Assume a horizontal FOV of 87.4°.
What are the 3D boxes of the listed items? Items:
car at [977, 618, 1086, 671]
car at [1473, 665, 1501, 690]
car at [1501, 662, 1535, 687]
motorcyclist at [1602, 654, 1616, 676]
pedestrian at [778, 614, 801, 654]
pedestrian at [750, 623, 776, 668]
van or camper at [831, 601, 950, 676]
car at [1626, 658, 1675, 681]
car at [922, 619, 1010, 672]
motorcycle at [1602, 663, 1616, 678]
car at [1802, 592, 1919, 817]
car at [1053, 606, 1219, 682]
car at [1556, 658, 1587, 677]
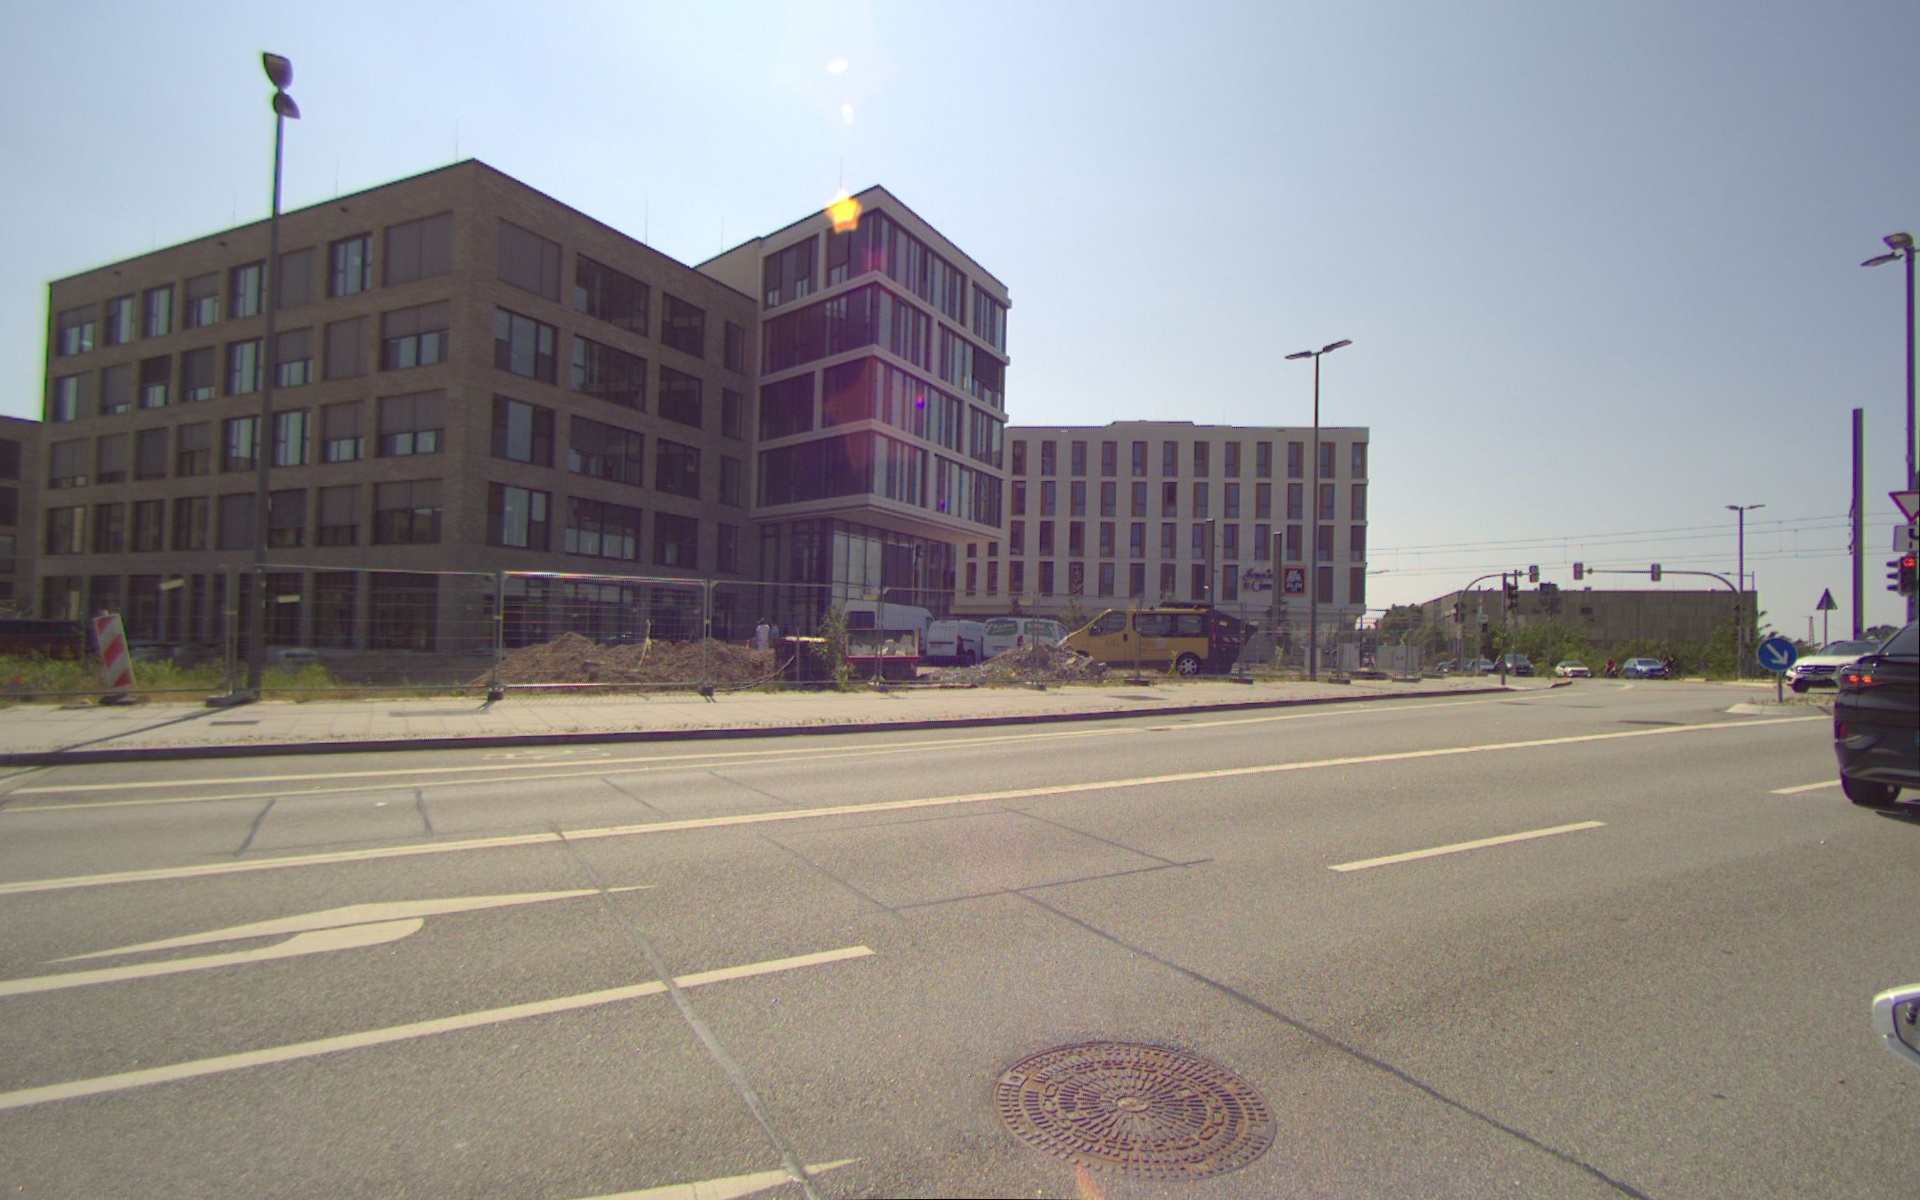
[{"bbox_3d":[2.752,1.645,37.706,1.841,1.797,4.636,2,0,37],"label":"car"},{"bbox_3d":[39.982,5.876,76.253,1.541,1.608,3.477,2,0,24],"label":"car"},{"bbox_3d":[37.744,4.989,68.021,1.646,1.496,3.405,0,-1,22],"label":"car"},{"bbox_3d":[46.237,4.622,71.567,0.739,1.514,0.677,2,0,24],"label":"motorcyclist"},{"bbox_3d":[-7.532,1.498,44.456,0.734,1.741,0.699,2,0,17],"label":"pedestrian"},{"bbox_3d":[-7.780,1.784,39.679,0.734,1.741,0.699,2,0,17],"label":"pedestrian"},{"bbox_3d":[-2.727,1.506,40.714,2.273,2.772,4.974,2,0,33],"label":"van or camper"},{"bbox_3d":[45.824,4.601,66.758,1.787,1.348,4.000,2,-2,21],"label":"car"},{"bbox_3d":[0.284,1.734,39.021,1.758,1.881,3.844,2,0,29],"label":"car"},{"bbox_3d":[46.191,5.013,71.500,0.511,0.967,1.933,2,0,24],"label":"motorcycle"},{"bbox_3d":[9.075,0.839,8.339,4.314,1.663,1.793,2,0,-30],"label":"car"},{"bbox_3d":[5.078,1.234,29.209,4.533,1.988,1.991,2,0,10],"label":"car"},{"bbox_3d":[49.369,5.449,81.140,1.578,1.357,2.924,2,0,21],"label":"car"}]
